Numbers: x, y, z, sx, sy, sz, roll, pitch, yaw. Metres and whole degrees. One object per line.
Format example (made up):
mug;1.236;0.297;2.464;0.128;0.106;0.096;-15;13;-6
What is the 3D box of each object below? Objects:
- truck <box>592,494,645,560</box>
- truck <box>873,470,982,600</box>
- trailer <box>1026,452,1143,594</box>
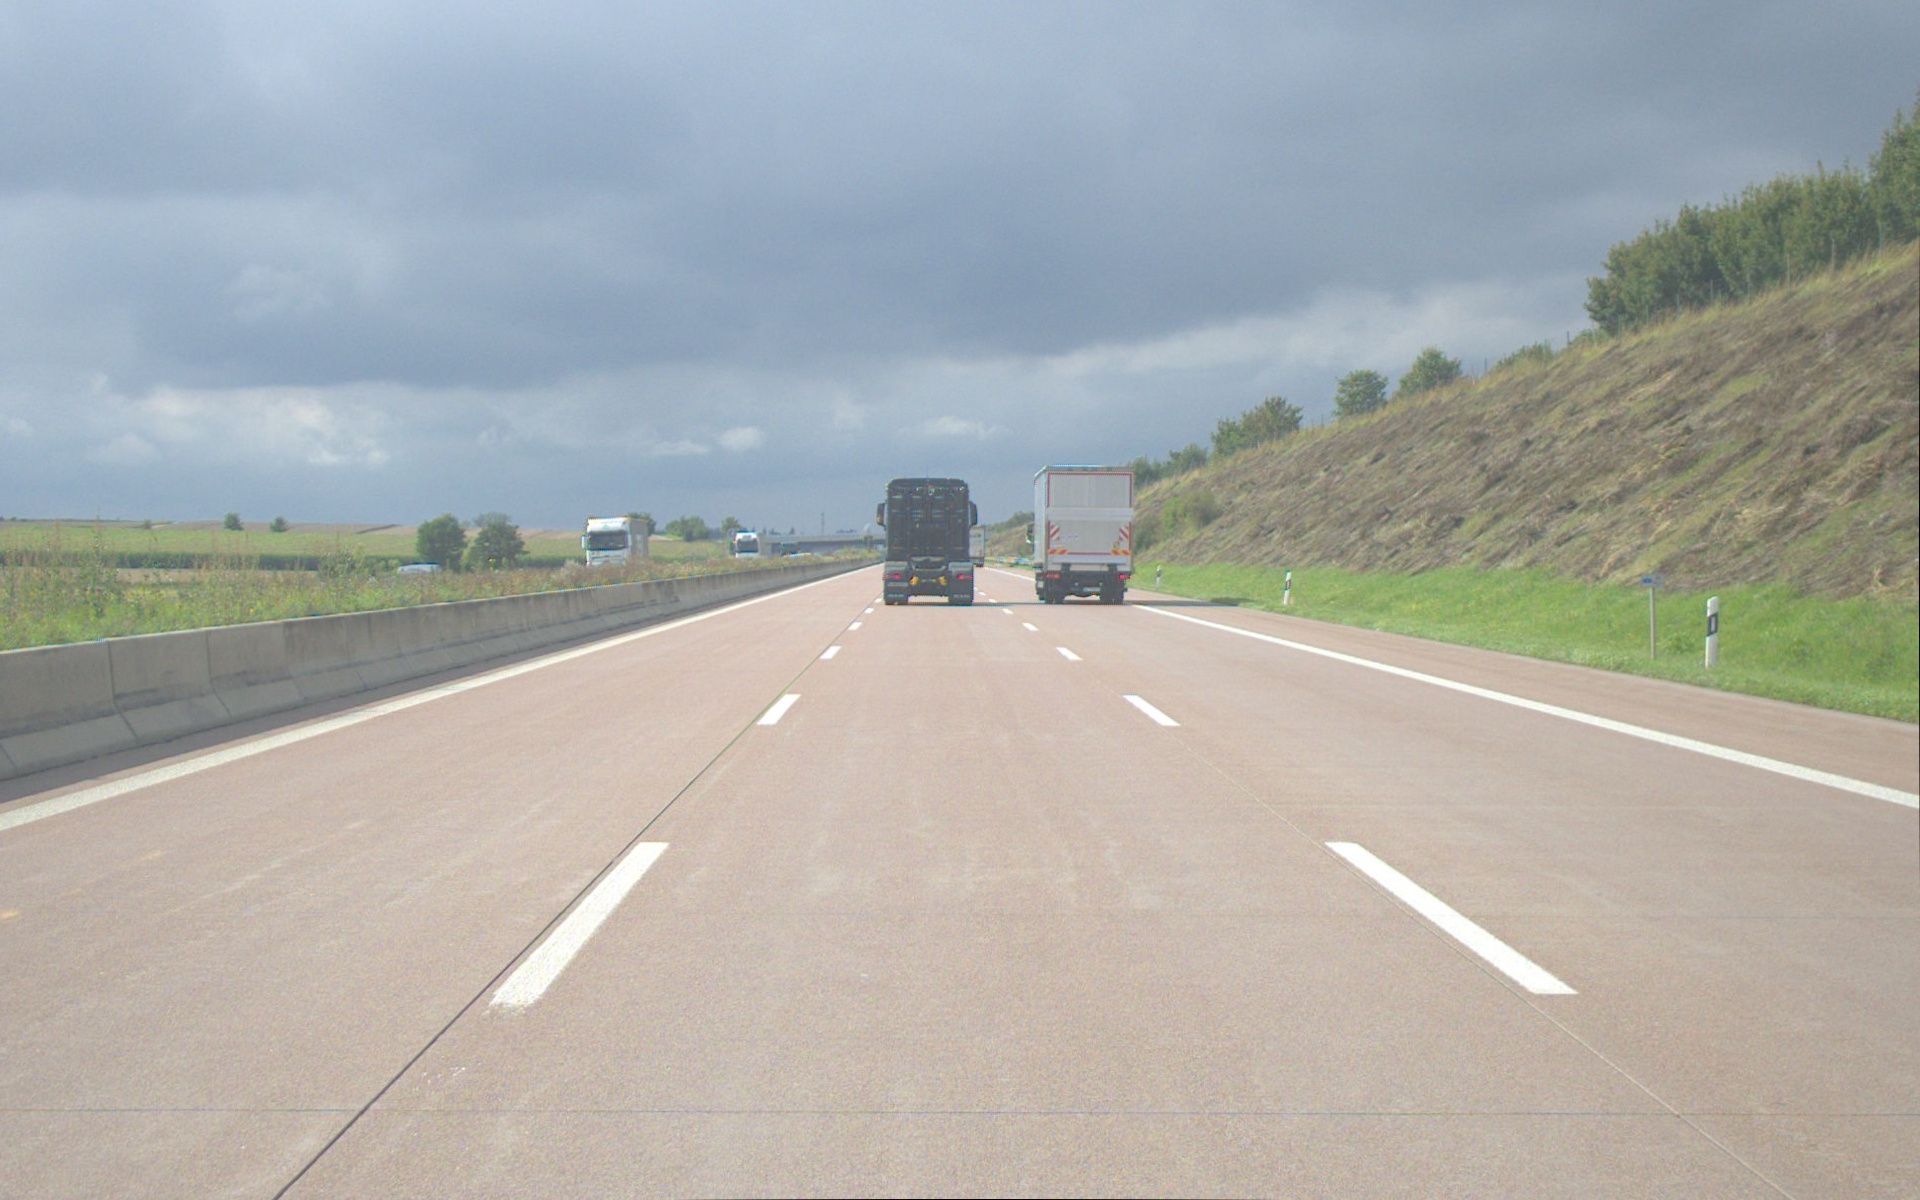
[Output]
truck;-20.796;-4.444;209.589;2.770;3.945;5.291;-1;1;-1
truck;-0.999;-1.822;98.296;2.847;3.537;8.320;1;1;-2
trailer;3.630;-2.228;101.874;2.747;3.998;8.671;1;1;-2
